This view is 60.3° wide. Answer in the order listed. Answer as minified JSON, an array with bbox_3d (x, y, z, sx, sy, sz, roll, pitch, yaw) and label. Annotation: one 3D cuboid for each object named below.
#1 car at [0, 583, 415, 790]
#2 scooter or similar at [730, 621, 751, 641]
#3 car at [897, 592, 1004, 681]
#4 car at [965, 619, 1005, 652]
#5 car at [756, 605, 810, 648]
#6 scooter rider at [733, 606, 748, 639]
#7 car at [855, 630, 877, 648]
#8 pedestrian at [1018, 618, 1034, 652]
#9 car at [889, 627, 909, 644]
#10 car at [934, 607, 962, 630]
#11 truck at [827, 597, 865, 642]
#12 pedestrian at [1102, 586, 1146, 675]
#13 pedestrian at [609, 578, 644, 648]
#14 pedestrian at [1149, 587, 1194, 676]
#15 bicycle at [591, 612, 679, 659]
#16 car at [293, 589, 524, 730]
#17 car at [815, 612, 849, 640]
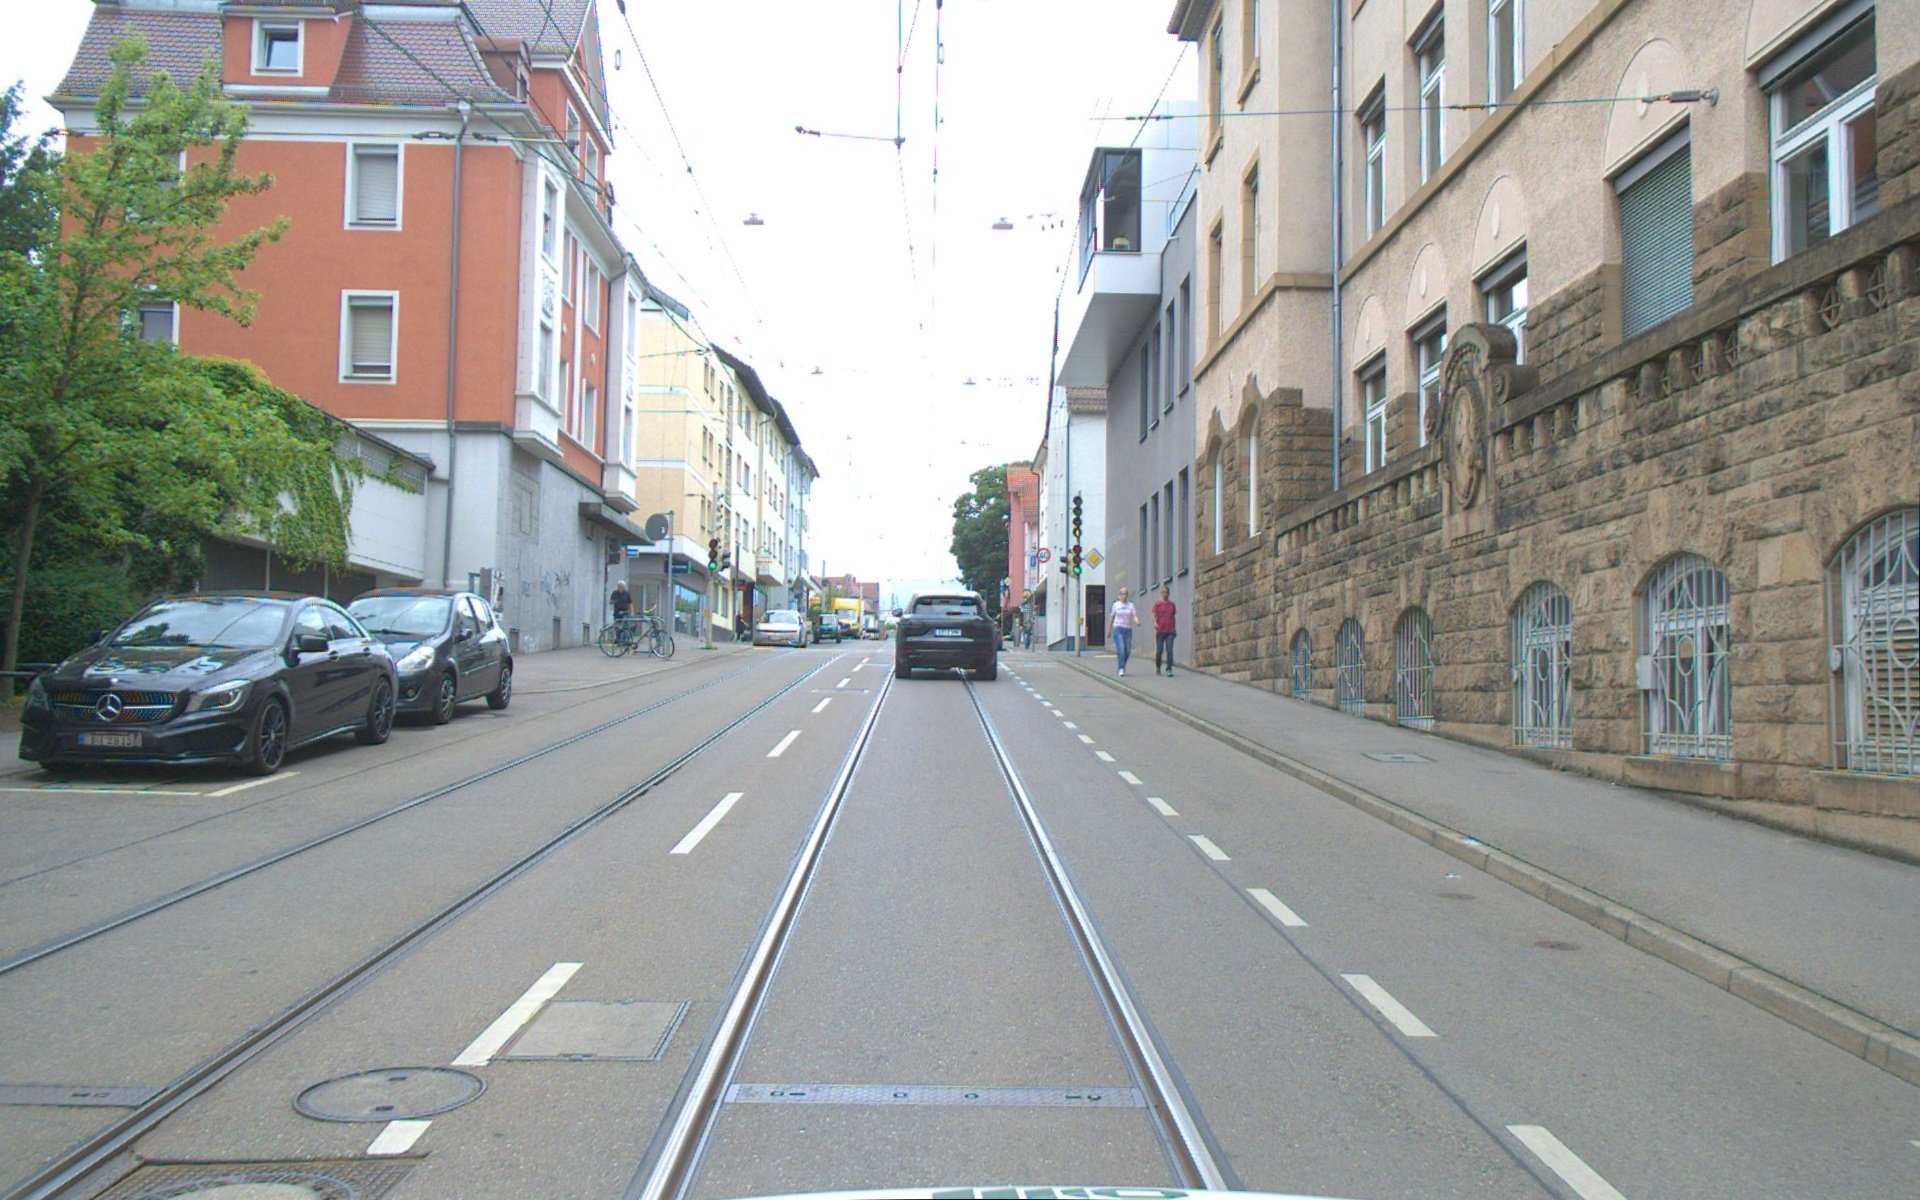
[{"bbox_3d":[-6.193,0.624,14.117,1.677,1.472,4.289,1,0,-1],"label":"car"},{"bbox_3d":[-10.913,1.540,82.143,1.007,0.935,0.472,1,0,-6],"label":"scooter or similar"},{"bbox_3d":[-0.200,0.667,32.435,1.953,1.590,4.289,1,0,-1],"label":"car"},{"bbox_3d":[1.261,1.812,85.520,1.953,1.590,4.289,1,0,-1],"label":"car"},{"bbox_3d":[-7.169,1.046,67.263,1.817,1.635,4.296,1,0,-1],"label":"car"},{"bbox_3d":[-10.908,1.112,82.215,0.635,1.613,0.765,1,0,-6],"label":"scooter rider"},{"bbox_3d":[-8.783,3.641,154.729,1.817,1.635,4.296,1,0,-1],"label":"car"},{"bbox_3d":[3.322,1.753,83.444,0.775,1.696,0.799,1,0,1],"label":"pedestrian"},{"bbox_3d":[-6.190,3.612,168.002,1.953,1.590,4.289,1,0,-1],"label":"car"},{"bbox_3d":[-0.904,1.343,121.320,1.953,1.590,4.289,1,0,-1],"label":"car"},{"bbox_3d":[-8.218,1.404,119.926,2.256,3.090,9.030,1,0,-1],"label":"truck"},{"bbox_3d":[3.196,0.582,32.219,0.775,1.696,0.799,1,0,1],"label":"pedestrian"},{"bbox_3d":[-8.796,0.341,43.606,0.759,1.807,0.650,1,0,0],"label":"pedestrian"},{"bbox_3d":[4.115,0.600,32.250,0.775,1.696,0.799,1,0,1],"label":"pedestrian"},{"bbox_3d":[-7.363,0.803,37.504,1.872,1.017,0.479,1,0,-1],"label":"bicycle"},{"bbox_3d":[-6.336,0.635,19.391,1.484,1.472,3.709,1,0,-1],"label":"car"},{"bbox_3d":[-7.695,1.556,99.875,1.817,1.635,4.296,1,0,-1],"label":"car"}]
